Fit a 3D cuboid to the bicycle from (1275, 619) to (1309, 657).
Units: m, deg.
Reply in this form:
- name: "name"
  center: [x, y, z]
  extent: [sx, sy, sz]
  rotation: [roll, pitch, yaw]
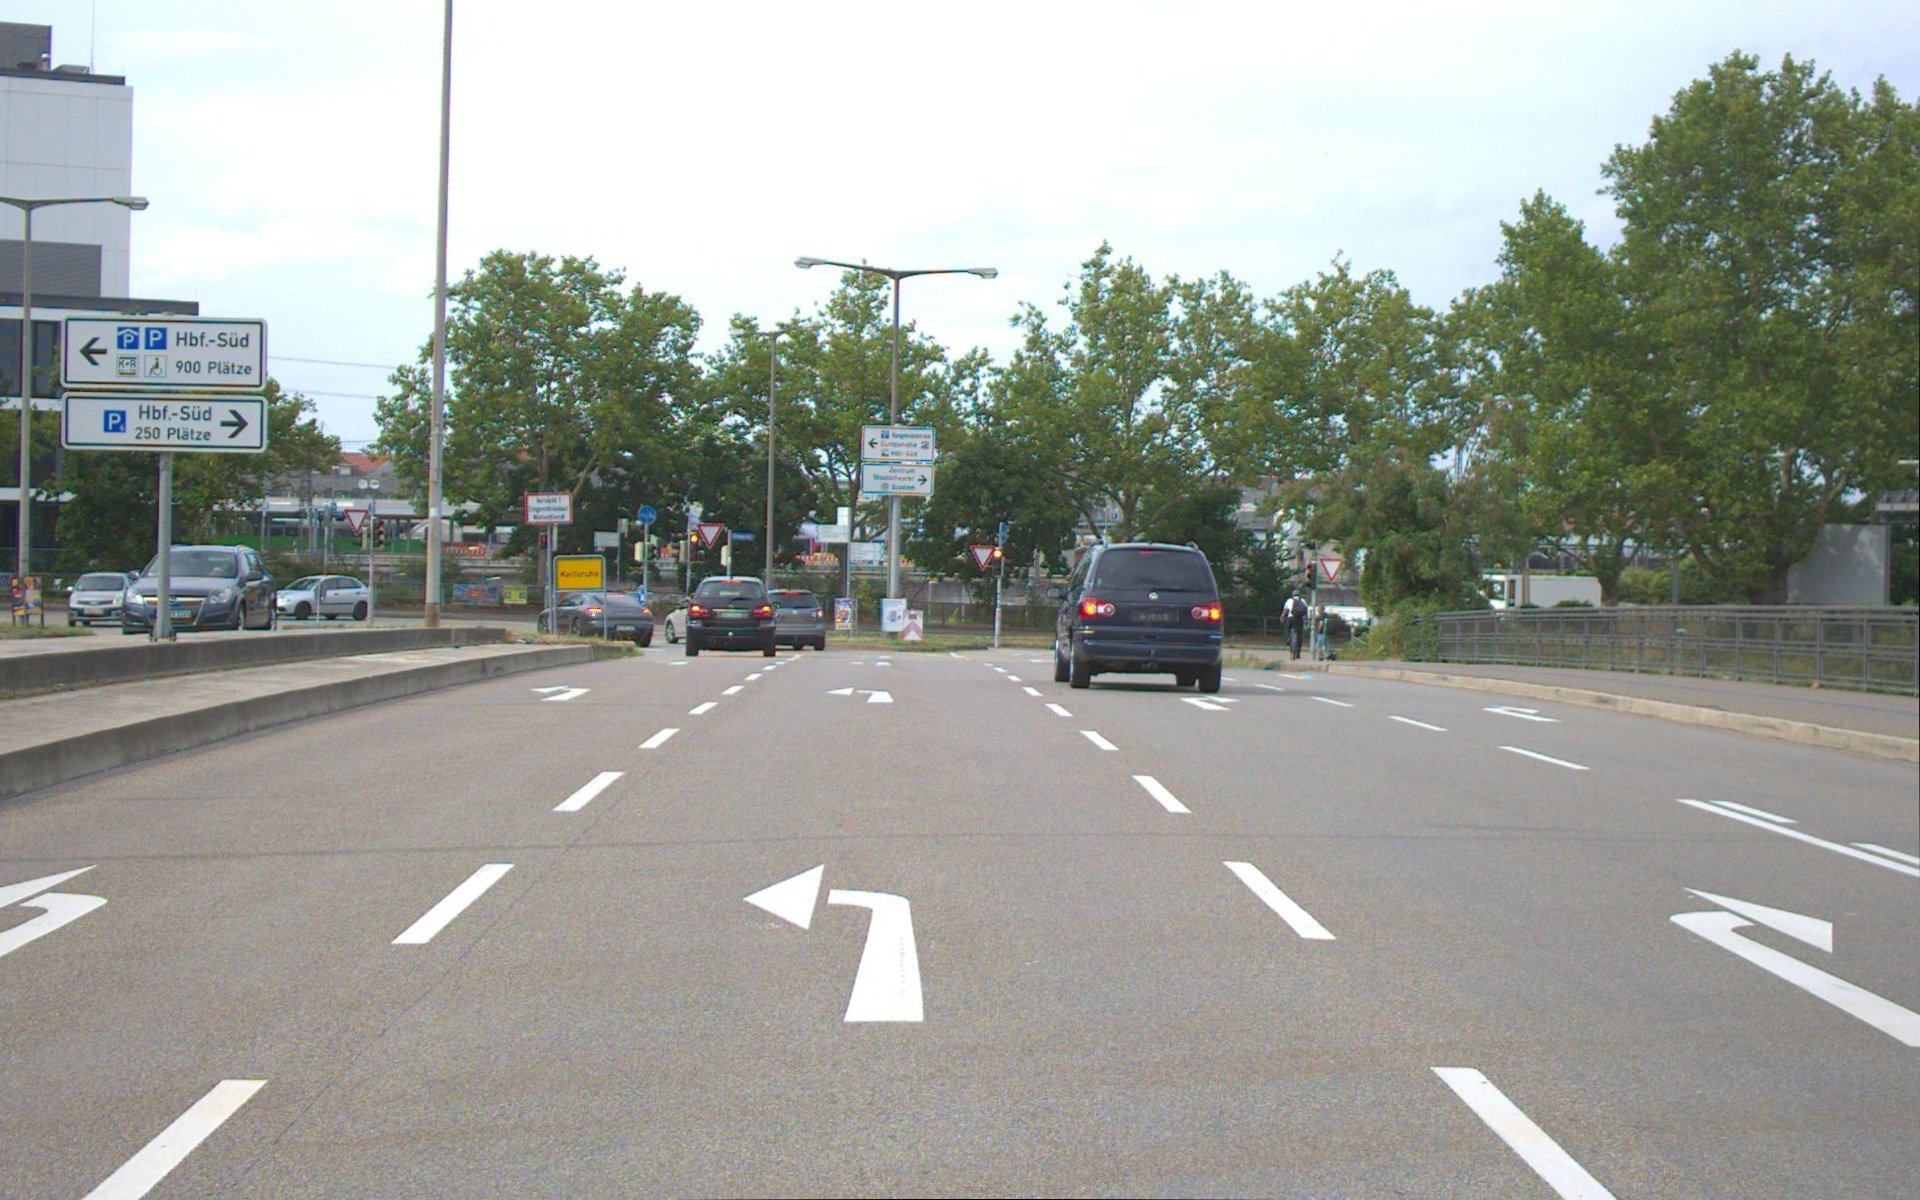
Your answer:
- name: "bicycle"
  center: [8.636, 0.985, 89.419]
  extent: [0.809, 0.949, 2.235]
  rotation: [1, 0, 4]

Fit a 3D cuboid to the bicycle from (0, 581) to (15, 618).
- name: "bicycle"
  center: [-25.287, -0.017, 87.879]
  extent: [0.810, 0.949, 2.231]
  rotation: [1, 0, 31]

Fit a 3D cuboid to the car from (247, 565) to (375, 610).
- name: "car"
  center: [-20.968, -0.398, 111.177]
  extent: [1.620, 1.405, 3.850]
  rotation: [-1, -1, 42]

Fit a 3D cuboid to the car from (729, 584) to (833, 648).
- name: "car"
  center: [-4.535, 0.395, 86.632]
  extent: [1.740, 1.541, 4.083]
  rotation: [1, 0, -16]

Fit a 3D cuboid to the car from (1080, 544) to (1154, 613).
- name: "car"
  center: [4.062, -0.543, 88.520]
  extent: [1.691, 1.580, 4.155]
  rotation: [3, -1, 5]

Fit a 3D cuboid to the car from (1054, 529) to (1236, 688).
- name: "car"
  center: [2.156, 0.124, 41.101]
  extent: [1.750, 1.719, 4.138]
  rotation: [3, -1, -2]

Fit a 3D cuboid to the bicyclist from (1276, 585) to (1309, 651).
- name: "bicyclist"
  center: [8.638, 0.473, 89.340]
  extent: [0.810, 1.690, 1.115]
  rotation: [1, 0, 4]

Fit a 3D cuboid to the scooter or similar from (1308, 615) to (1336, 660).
- name: "scooter or similar"
  center: [9.503, 0.990, 90.236]
  extent: [0.396, 1.179, 1.281]
  rotation: [1, -1, -8]

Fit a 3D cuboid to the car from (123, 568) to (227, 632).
- name: "car"
  center: [-17.934, -0.014, 78.421]
  extent: [1.918, 1.410, 4.882]
  rotation: [0, 0, -18]

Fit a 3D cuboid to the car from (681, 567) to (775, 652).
- name: "car"
  center: [-4.620, 0.168, 68.467]
  extent: [1.757, 1.570, 4.037]
  rotation: [2, 0, -4]

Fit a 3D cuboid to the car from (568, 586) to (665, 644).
- name: "car"
  center: [-8.927, 0.366, 88.997]
  extent: [1.818, 1.409, 4.778]
  rotation: [2, 0, -14]

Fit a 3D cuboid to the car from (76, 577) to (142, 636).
- name: "car"
  center: [-24.175, 0.205, 97.590]
  extent: [1.741, 1.653, 4.080]
  rotation: [0, -1, -15]

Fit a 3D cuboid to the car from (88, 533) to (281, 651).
- name: "car"
  center: [-11.506, -0.133, 51.279]
  extent: [1.887, 1.634, 4.585]
  rotation: [1, 0, -1]

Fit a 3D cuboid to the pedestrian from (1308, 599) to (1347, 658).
- name: "pedestrian"
  center: [10.936, 0.854, 102.186]
  extent: [1.047, 1.704, 0.853]
  rotation: [2, 0, 10]
